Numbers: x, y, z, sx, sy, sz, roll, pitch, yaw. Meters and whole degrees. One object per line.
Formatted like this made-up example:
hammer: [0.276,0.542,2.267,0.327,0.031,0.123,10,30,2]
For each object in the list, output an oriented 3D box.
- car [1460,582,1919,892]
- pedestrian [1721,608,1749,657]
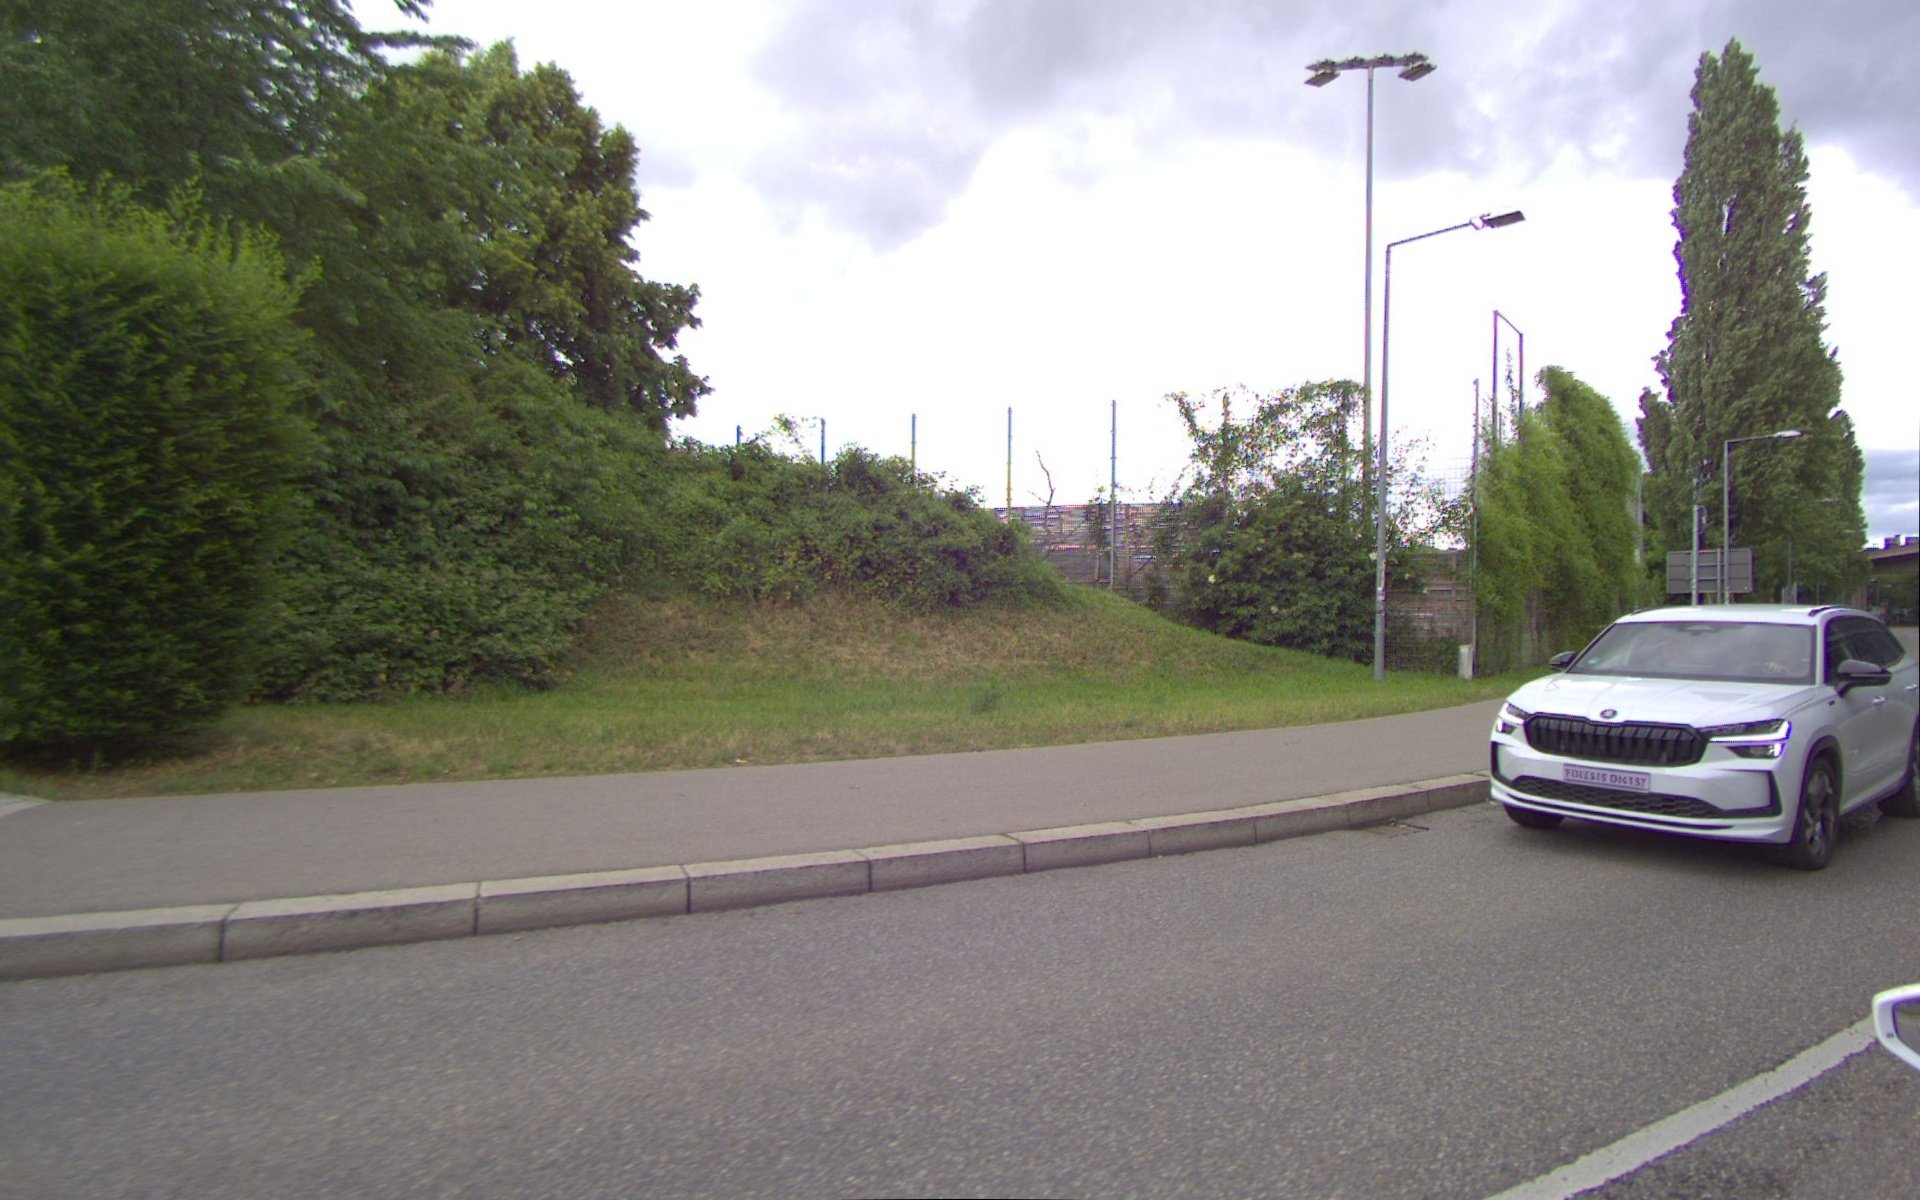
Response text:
car: [5.827,0.745,7.642,4.363,1.706,1.851,-1,0,-37]
pedestrian: [29.333,1.216,38.019,0.794,1.805,0.915,-1,1,41]
